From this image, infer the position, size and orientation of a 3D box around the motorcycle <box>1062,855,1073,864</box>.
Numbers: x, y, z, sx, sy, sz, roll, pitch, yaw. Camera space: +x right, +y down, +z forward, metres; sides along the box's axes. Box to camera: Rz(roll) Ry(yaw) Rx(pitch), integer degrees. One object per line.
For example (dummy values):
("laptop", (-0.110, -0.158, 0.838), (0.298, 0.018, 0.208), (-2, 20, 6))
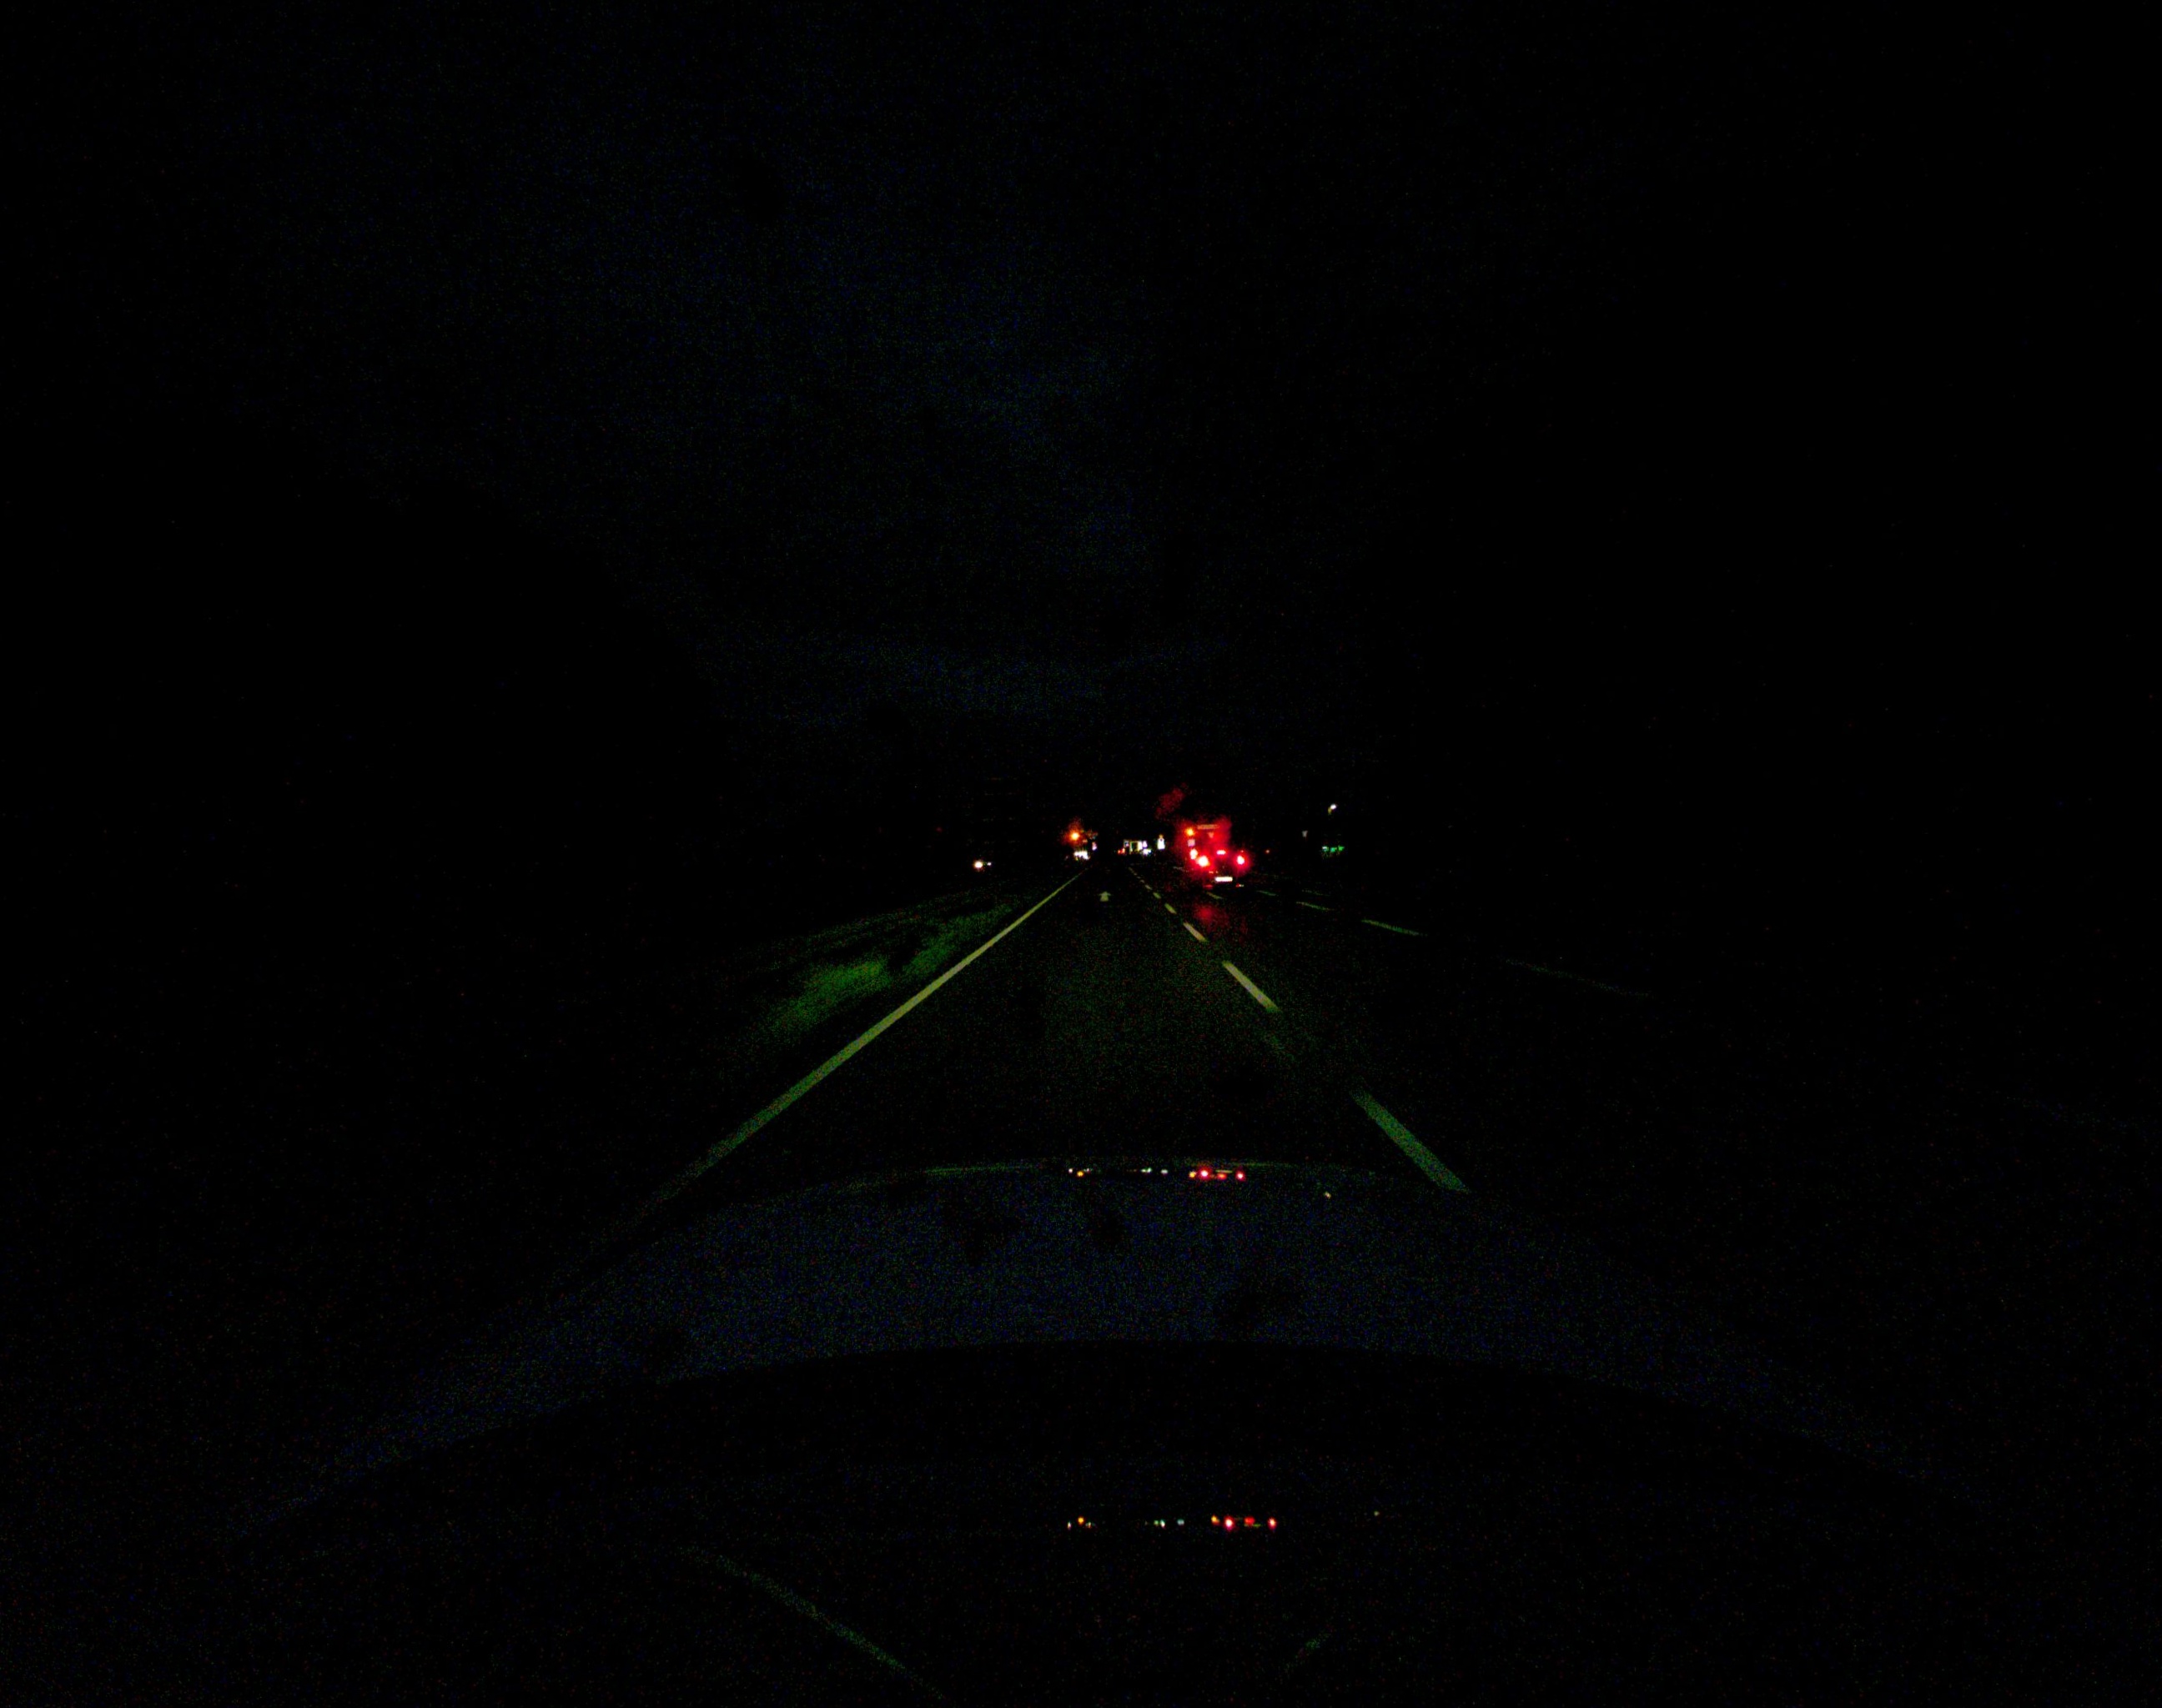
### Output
("motorcycle", (-1.763, 0.656, 104.454), (0.973, 1.098, 2.515), (-3, 0, 9))

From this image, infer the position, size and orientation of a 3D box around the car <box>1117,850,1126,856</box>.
("car", (11.578, -0.427, 233.978), (2.266, 1.632, 4.001), (-2, 0, 1))

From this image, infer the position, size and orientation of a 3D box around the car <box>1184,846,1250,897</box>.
("car", (4.433, 0.526, 27.045), (1.663, 1.520, 4.109), (-1, 0, 3))

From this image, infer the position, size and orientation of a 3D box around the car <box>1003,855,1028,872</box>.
("car", (-6.230, 0.894, 77.901), (1.915, 1.431, 4.501), (-3, 0, 0))

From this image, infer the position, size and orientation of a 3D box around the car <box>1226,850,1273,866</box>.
("car", (18.052, 0.400, 87.523), (4.583, 1.520, 2.001), (-3, 0, 2))

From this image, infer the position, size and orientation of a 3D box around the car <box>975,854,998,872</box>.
("car", (-9.696, 0.910, 84.153), (1.789, 1.671, 4.501), (-2, 0, 0))

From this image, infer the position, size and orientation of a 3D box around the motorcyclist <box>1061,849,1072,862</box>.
("motorcyclist", (-1.823, 0.243, 104.255), (1.131, 1.584, 0.975), (-3, 0, 8))
